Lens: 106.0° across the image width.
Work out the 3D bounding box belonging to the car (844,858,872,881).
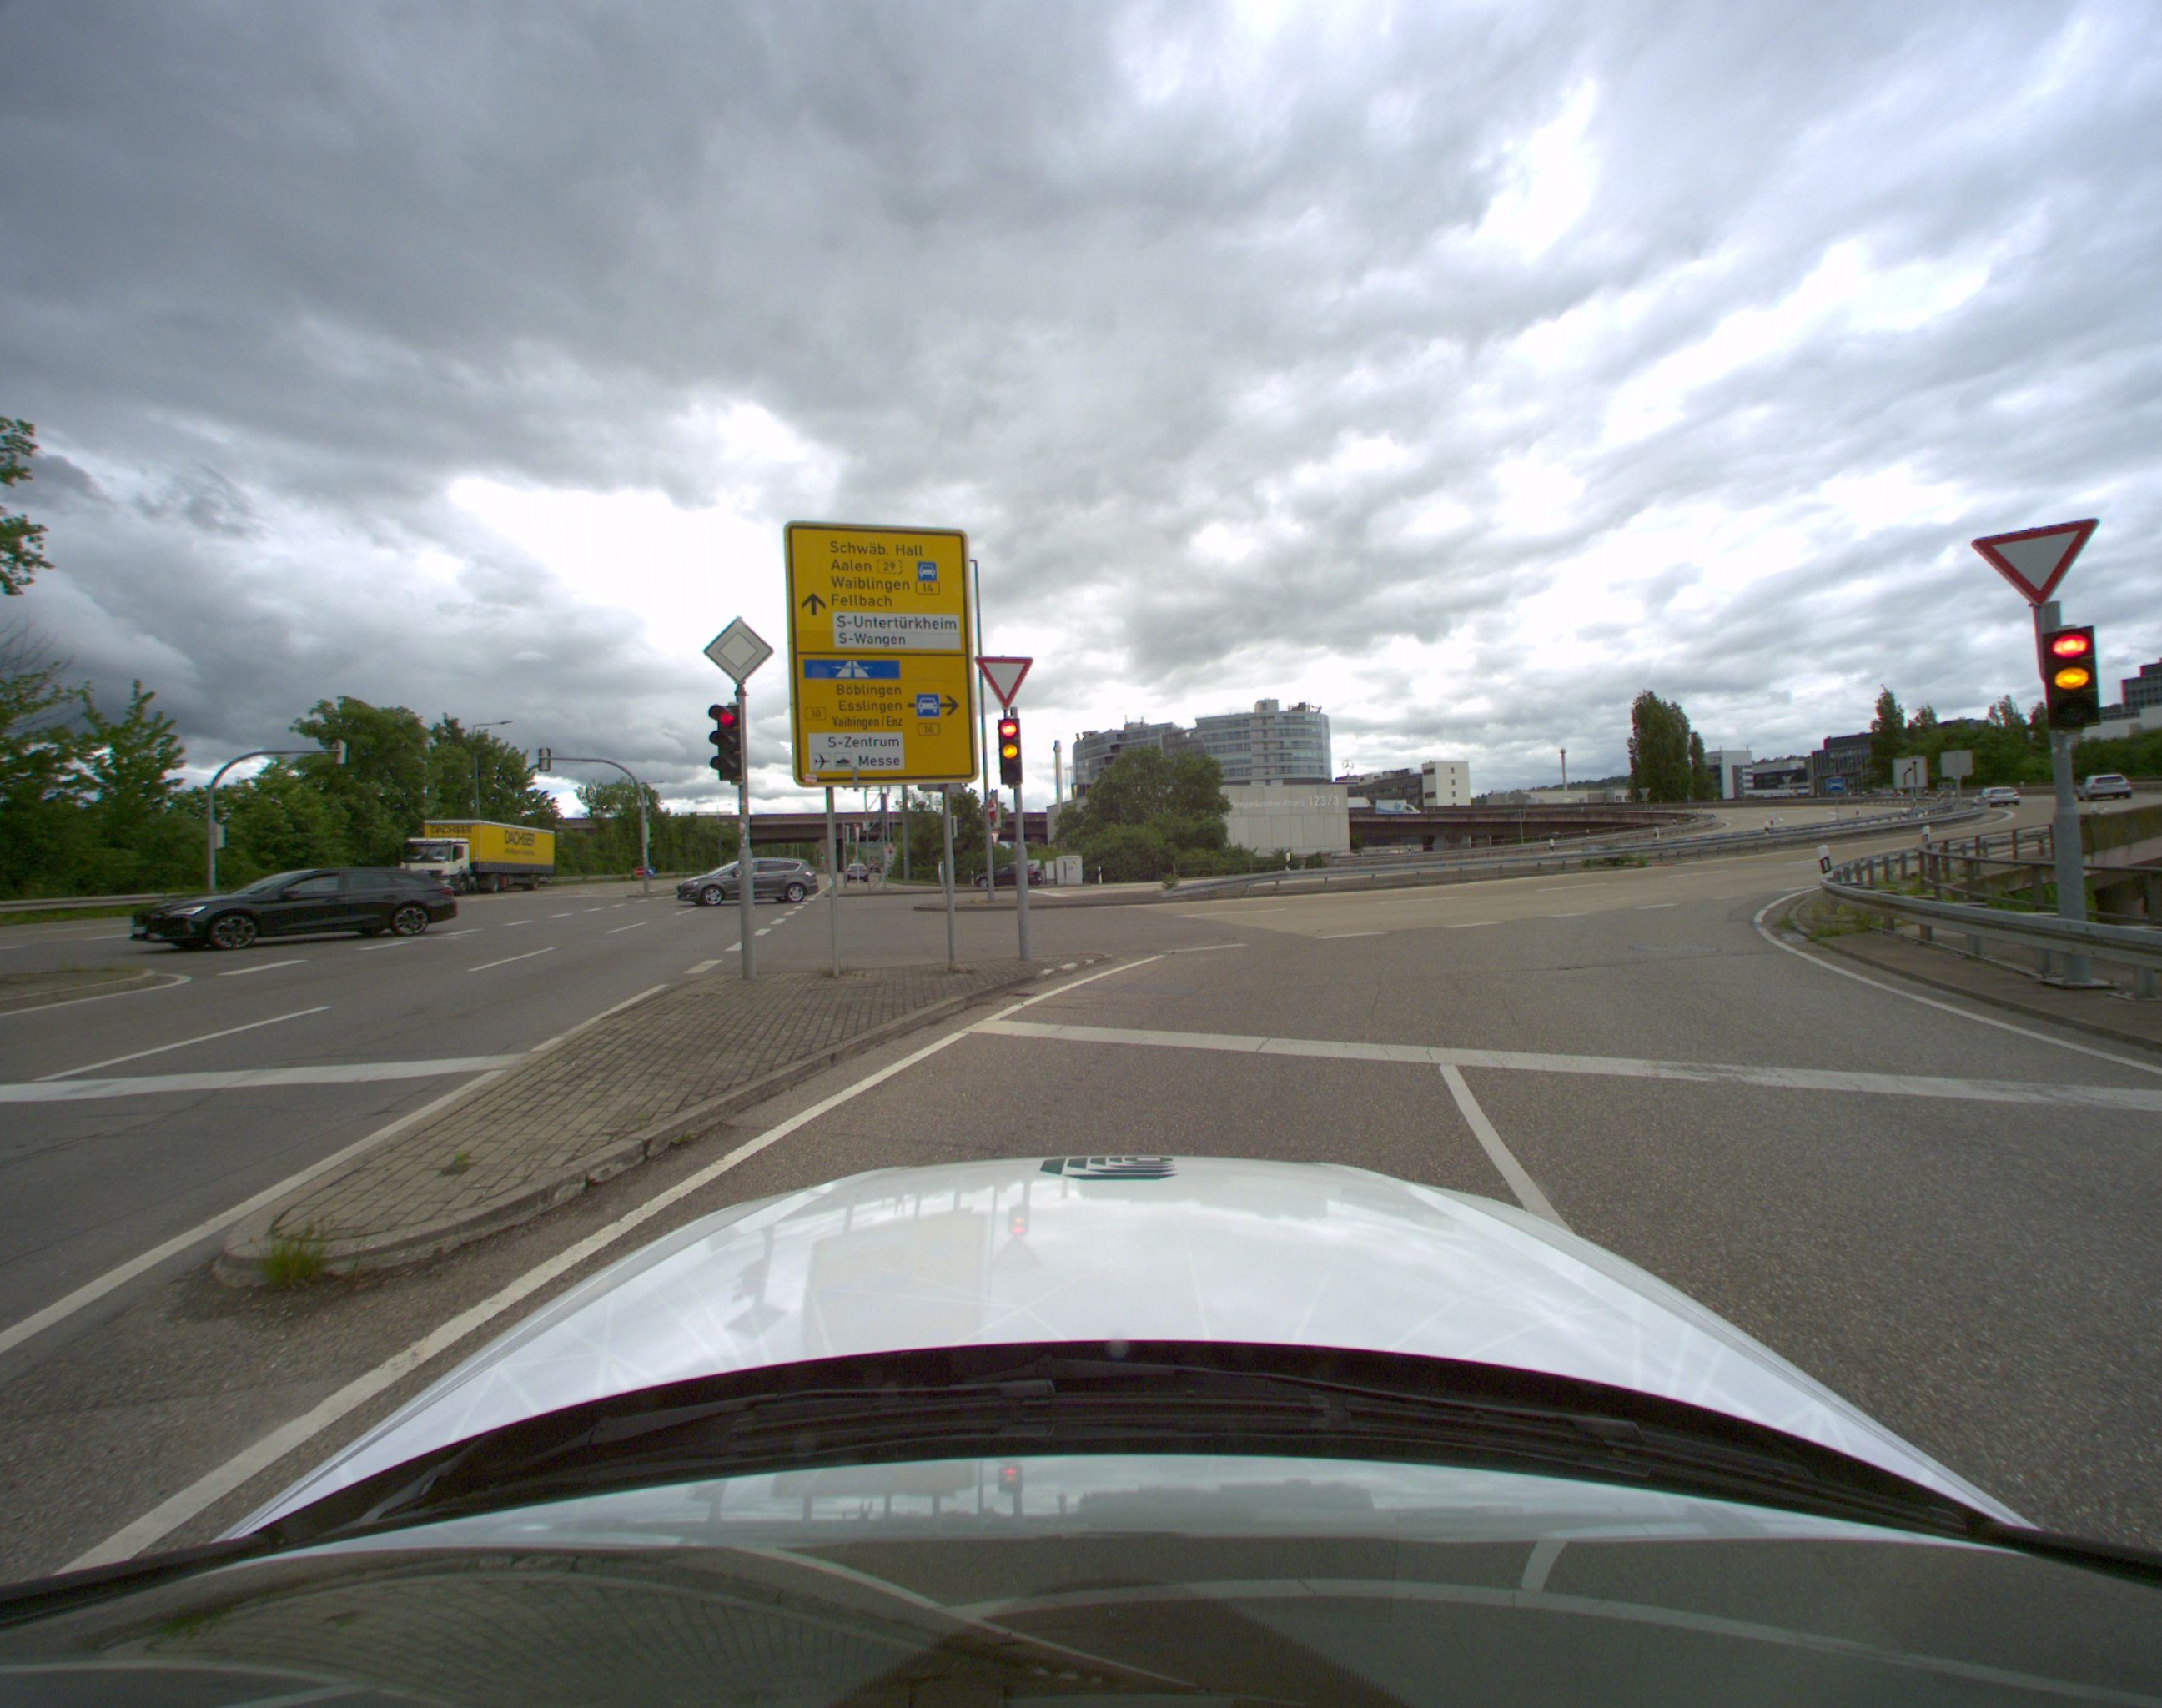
[{"bbox_3d":[-18.000,1.219,65.663,1.914,1.662,4.718,2,0,-18],"label":"car"}]

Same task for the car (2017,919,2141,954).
[{"bbox_3d":[52.190,4.275,42.667,1.832,1.354,3.827,-3,1,-29],"label":"car"}]

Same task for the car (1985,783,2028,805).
[{"bbox_3d":[69.689,-4.499,61.391,1.708,1.400,4.091,-2,0,43],"label":"car"}]

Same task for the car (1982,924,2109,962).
[{"bbox_3d":[48.147,4.410,40.734,1.832,1.354,3.827,-3,1,-29],"label":"car"}]

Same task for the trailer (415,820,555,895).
[{"bbox_3d":[-36.073,0.181,50.010,2.876,4.084,11.369,1,0,-15],"label":"trailer"}]

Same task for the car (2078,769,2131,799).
[{"bbox_3d":[69.199,-4.698,55.119,1.708,1.737,4.583,-2,0,45],"label":"car"}]

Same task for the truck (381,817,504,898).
[{"bbox_3d":[-34.720,0.173,44.629,2.876,4.084,6.455,1,0,-15],"label":"truck"}]

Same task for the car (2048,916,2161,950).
[{"bbox_3d":[54.888,4.191,43.558,1.832,1.354,3.827,-3,1,-29],"label":"car"}]

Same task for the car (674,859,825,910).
[{"bbox_3d":[-11.966,1.022,29.522,4.715,1.571,1.934,-2,1,-37],"label":"car"}]

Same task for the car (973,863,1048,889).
[{"bbox_3d":[-4.181,1.279,48.285,3.947,1.421,1.925,-2,-1,20],"label":"car"}]

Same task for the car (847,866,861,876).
[{"bbox_3d":[-36.036,2.658,129.364,1.996,1.442,4.090,0,-2,-13],"label":"car"}]

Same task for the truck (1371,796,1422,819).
[{"bbox_3d":[50.204,-7.340,129.692,7.255,3.269,2.344,-1,0,30],"label":"truck"}]

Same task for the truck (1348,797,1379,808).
[{"bbox_3d":[56.989,-10.389,164.245,5.604,2.163,2.000,-1,0,-1],"label":"truck"}]

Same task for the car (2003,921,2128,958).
[{"bbox_3d":[50.303,4.322,41.686,1.832,1.354,3.827,-3,1,-29],"label":"car"}]

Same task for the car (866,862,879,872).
[{"bbox_3d":[-33.380,2.096,130.414,1.996,1.464,4.090,0,-2,-14],"label":"car"}]

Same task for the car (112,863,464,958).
[{"bbox_3d":[-15.514,0.999,16.296,1.931,1.457,4.649,-1,1,27],"label":"car"}]

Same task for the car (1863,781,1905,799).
[{"bbox_3d":[90.133,-7.157,91.450,1.709,1.461,4.266,-4,-2,21],"label":"car"}]

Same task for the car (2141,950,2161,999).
[{"bbox_3d":[41.509,4.433,30.206,4.006,1.534,1.812,-3,1,-25],"label":"car"}]
